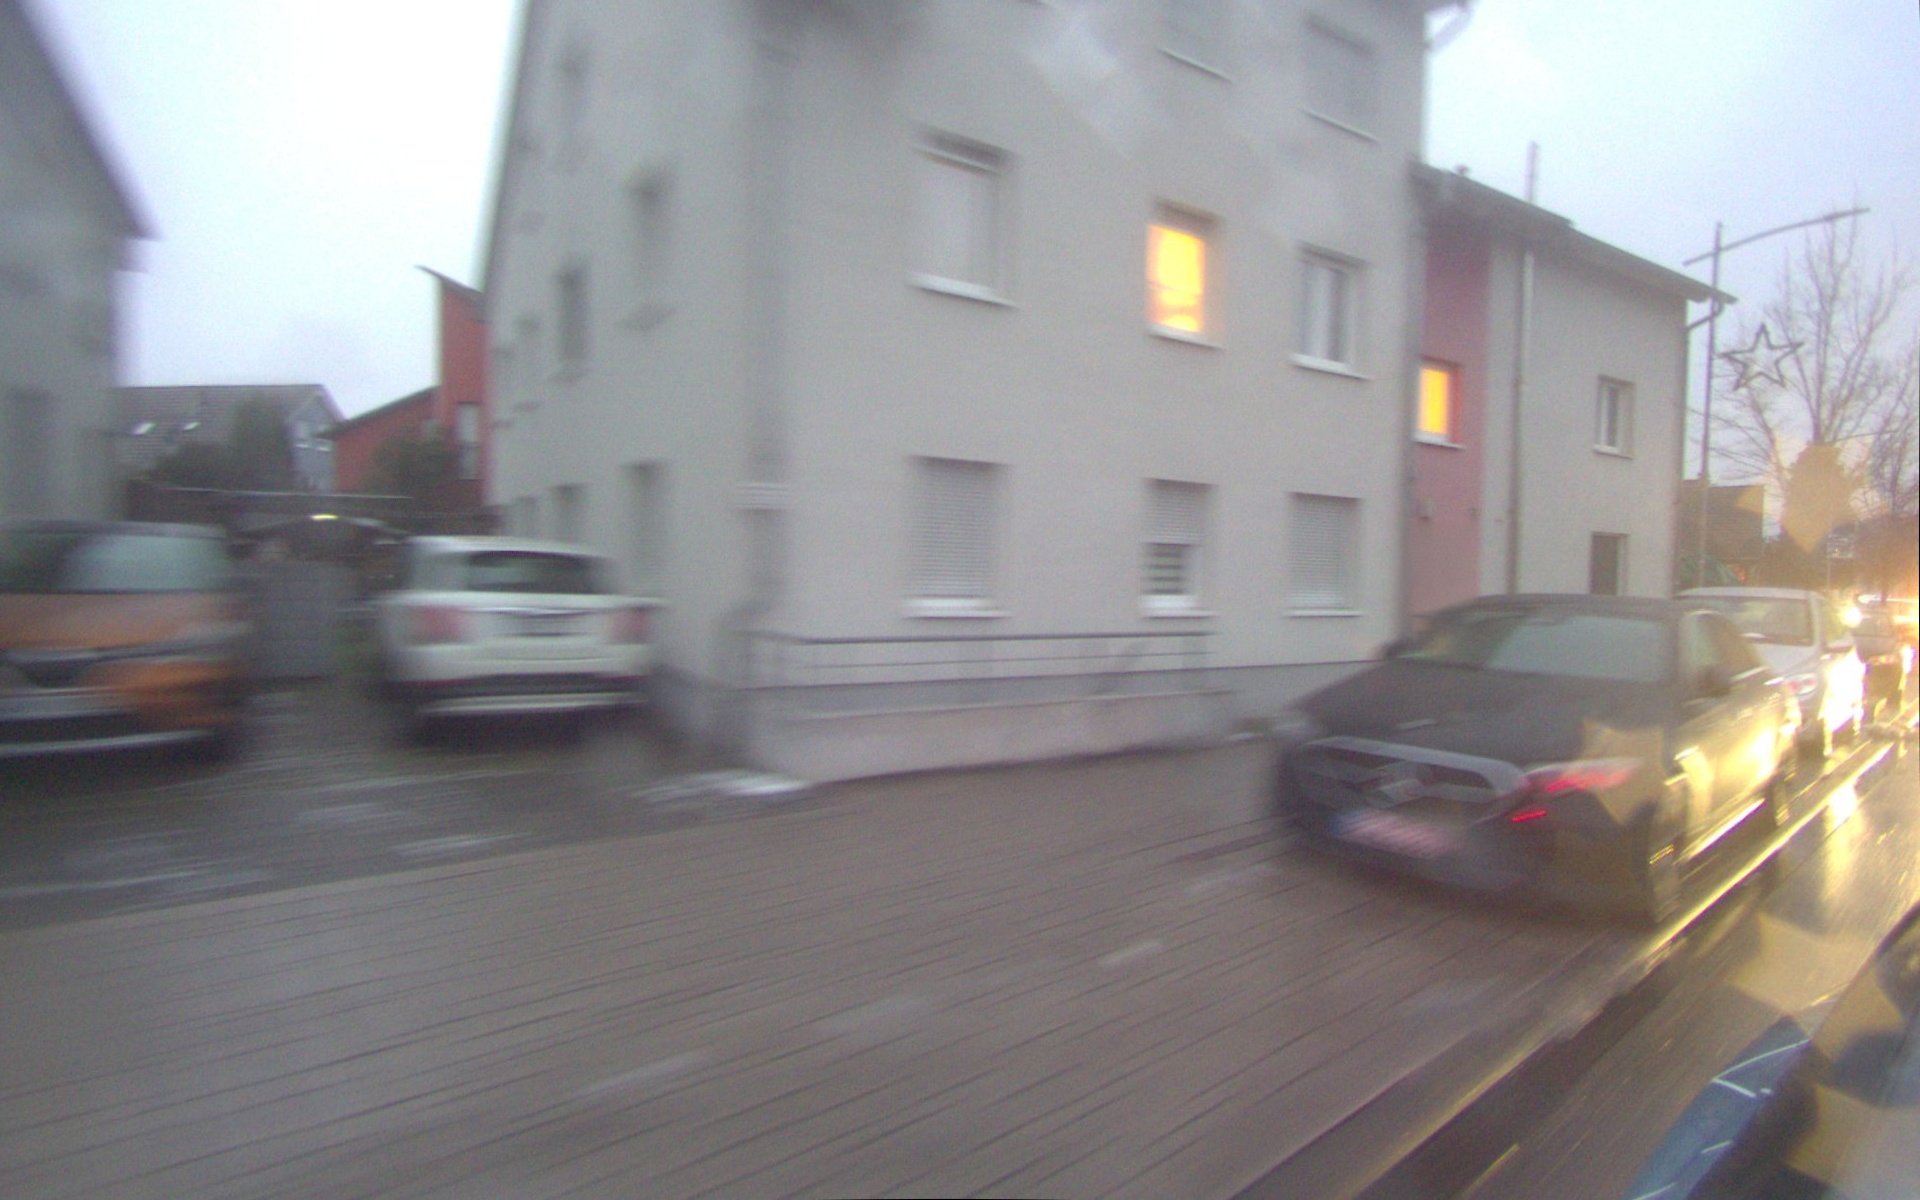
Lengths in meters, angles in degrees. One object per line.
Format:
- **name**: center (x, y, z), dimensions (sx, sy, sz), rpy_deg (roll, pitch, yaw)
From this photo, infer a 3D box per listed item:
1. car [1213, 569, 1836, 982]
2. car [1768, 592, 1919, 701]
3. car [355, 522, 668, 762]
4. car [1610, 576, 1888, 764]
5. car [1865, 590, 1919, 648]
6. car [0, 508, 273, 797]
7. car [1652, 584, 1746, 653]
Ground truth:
- **car**: center (3.771, 0.670, 6.233), dimensions (4.924, 1.552, 1.958), rpy_deg (0, -1, -43)
- **car**: center (14.513, 0.664, 16.424), dimensions (1.704, 1.469, 4.124), rpy_deg (4, 2, 45)
- **car**: center (-4.161, 0.177, 8.994), dimensions (1.770, 1.620, 4.022), rpy_deg (1, 3, -35)
- **car**: center (8.635, 0.588, 10.918), dimensions (4.421, 1.595, 1.667), rpy_deg (0, 2, -43)
- **car**: center (28.416, 0.534, 30.171), dimensions (4.233, 1.583, 1.809), rpy_deg (0, 2, -44)
- **car**: center (-6.151, 0.188, 7.374), dimensions (1.827, 1.574, 4.164), rpy_deg (0, 3, -34)
- **car**: center (19.286, 0.417, 26.359), dimensions (1.804, 1.571, 4.246), rpy_deg (3, 2, 38)
